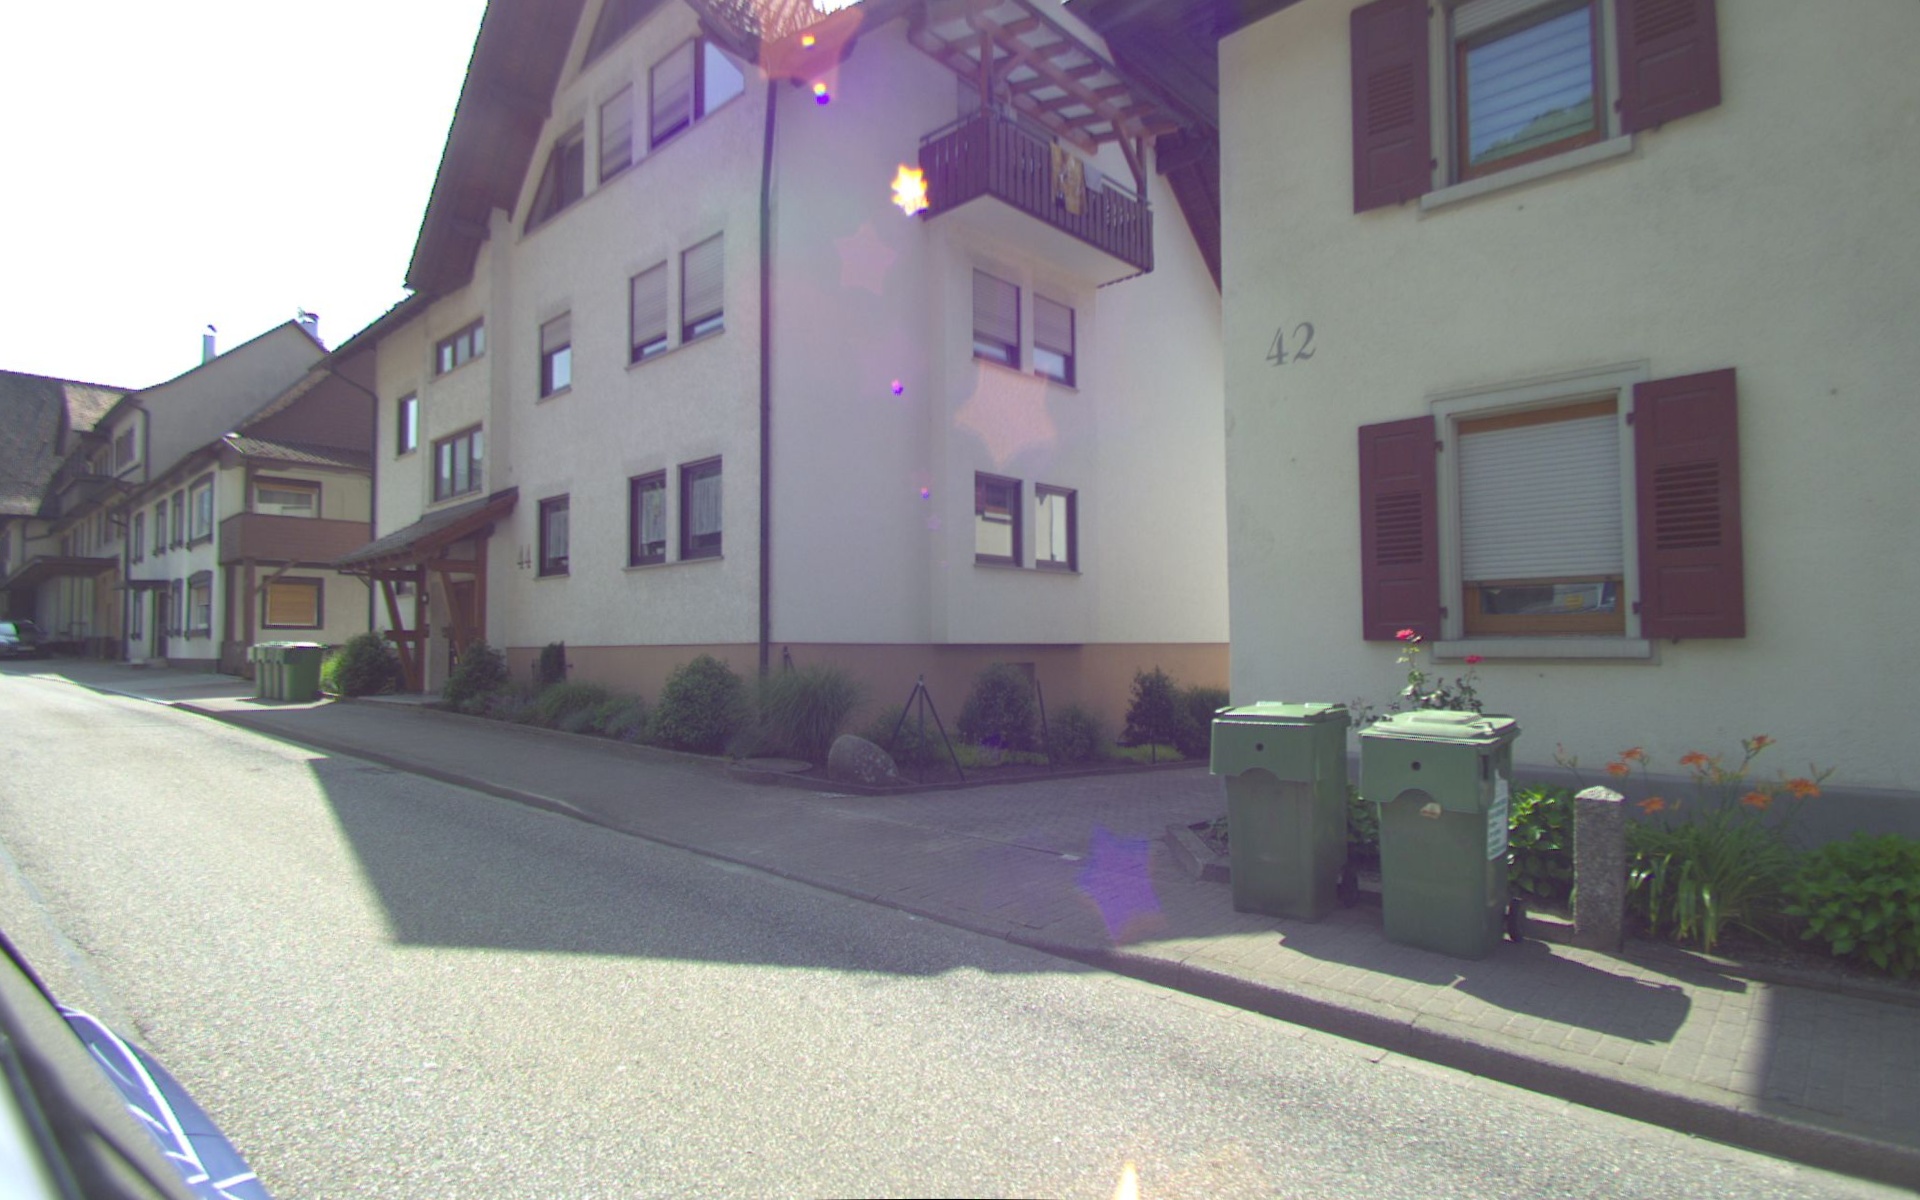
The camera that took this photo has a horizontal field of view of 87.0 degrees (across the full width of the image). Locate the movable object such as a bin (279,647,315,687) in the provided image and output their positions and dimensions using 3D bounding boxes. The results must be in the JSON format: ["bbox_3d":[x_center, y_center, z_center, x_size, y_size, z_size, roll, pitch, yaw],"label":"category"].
[{"bbox_3d":[-18.012,1.821,27.481,0.696,1.059,0.614,-1,-4,42],"label":"movable object such as a bin"}]

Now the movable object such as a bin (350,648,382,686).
[{"bbox_3d":[-16.892,1.900,28.771,0.600,1.059,0.592,-1,-4,42],"label":"movable object such as a bin"}]

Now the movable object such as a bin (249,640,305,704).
[{"bbox_3d":[-13.168,1.383,19.514,0.598,1.190,0.710,-2,-5,43],"label":"movable object such as a bin"}]

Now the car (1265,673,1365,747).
[{"bbox_3d":[7.584,2.287,21.464,1.509,1.364,3.255,0,-4,28],"label":"car"}]

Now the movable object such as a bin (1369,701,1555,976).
[{"bbox_3d":[2.318,1.034,4.665,0.621,1.075,0.669,-1,-3,40],"label":"movable object such as a bin"}]

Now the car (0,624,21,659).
[{"bbox_3d":[-43.550,1.770,43.791,1.752,1.514,4.053,-1,-3,40],"label":"car"}]

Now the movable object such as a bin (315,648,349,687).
[{"bbox_3d":[-17.424,1.866,28.092,0.632,1.059,0.600,-1,-4,42],"label":"movable object such as a bin"}]

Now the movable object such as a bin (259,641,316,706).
[{"bbox_3d":[-12.677,1.378,19.085,0.598,1.190,0.710,-2,-5,43],"label":"movable object such as a bin"}]

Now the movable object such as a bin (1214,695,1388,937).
[{"bbox_3d":[1.764,1.055,5.226,0.653,1.075,0.669,-1,-3,40],"label":"movable object such as a bin"}]

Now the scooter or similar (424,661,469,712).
[{"bbox_3d":[-8.621,1.442,16.994,0.537,0.832,0.500,-3,-4,41],"label":"scooter or similar"}]

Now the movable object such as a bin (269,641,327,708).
[{"bbox_3d":[-12.193,1.373,18.641,0.598,1.190,0.710,-2,-5,43],"label":"movable object such as a bin"}]

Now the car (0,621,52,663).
[{"bbox_3d":[-37.315,1.634,39.804,4.281,1.565,1.752,-1,-2,40],"label":"car"}]

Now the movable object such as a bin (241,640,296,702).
[{"bbox_3d":[-13.645,1.389,19.970,0.598,1.190,0.710,-2,-5,43],"label":"movable object such as a bin"}]
